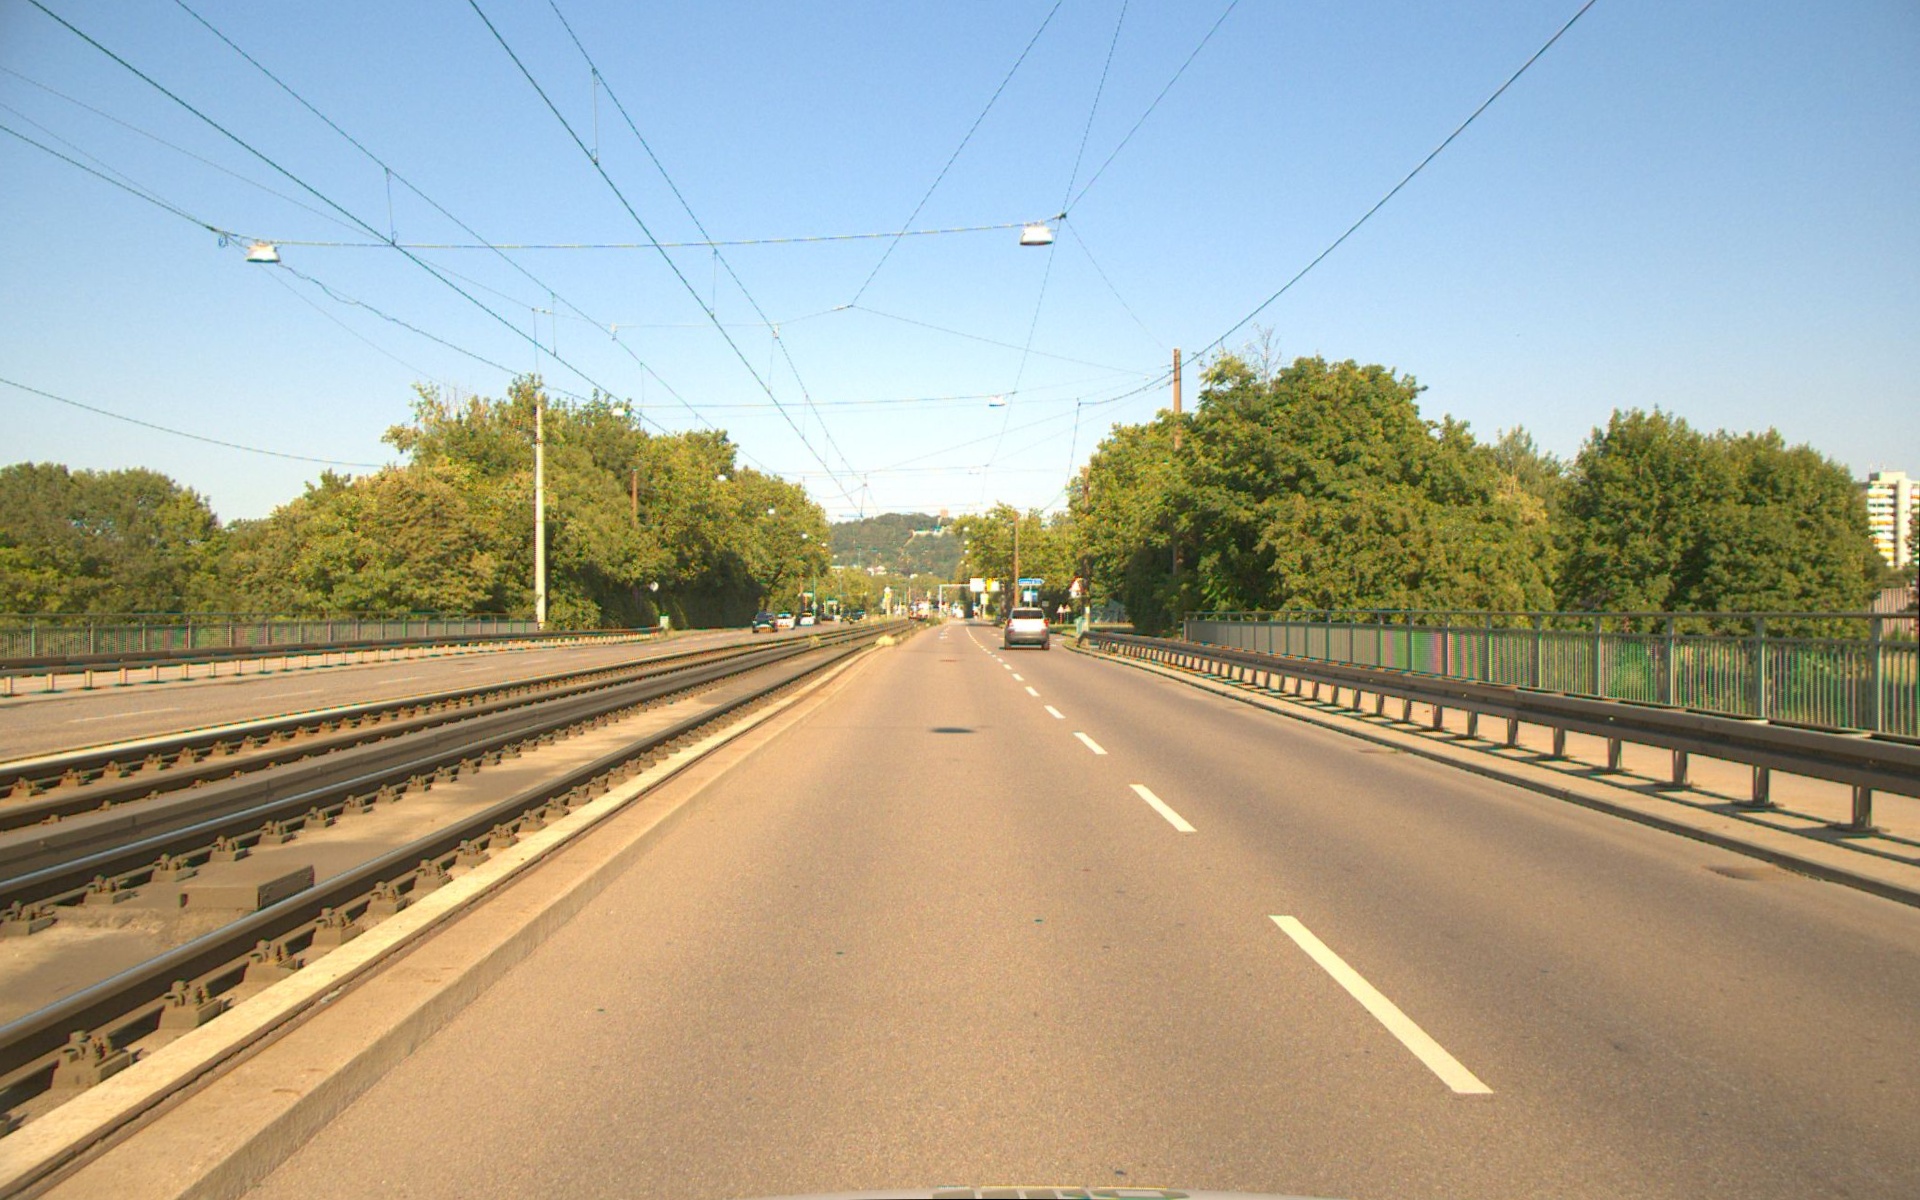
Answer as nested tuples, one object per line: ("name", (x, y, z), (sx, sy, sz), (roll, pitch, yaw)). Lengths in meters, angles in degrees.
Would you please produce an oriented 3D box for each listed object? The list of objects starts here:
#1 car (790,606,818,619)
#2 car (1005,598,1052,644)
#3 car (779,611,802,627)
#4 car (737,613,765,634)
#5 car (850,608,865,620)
("car", (-20.344, 1.609, 215.424), (1.679, 1.583, 4.134), (-2, 0, -37))
("car", (2.831, 0.832, 67.855), (1.771, 1.804, 3.864), (1, 0, 4))
("car", (-15.954, 1.785, 155.725), (1.719, 1.439, 4.876), (-2, 0, -2))
("car", (-16.587, 1.865, 131.409), (1.674, 1.608, 4.800), (-1, 0, -1))
("car", (-13.573, 1.830, 218.226), (1.623, 1.458, 4.501), (-2, 0, 0))
